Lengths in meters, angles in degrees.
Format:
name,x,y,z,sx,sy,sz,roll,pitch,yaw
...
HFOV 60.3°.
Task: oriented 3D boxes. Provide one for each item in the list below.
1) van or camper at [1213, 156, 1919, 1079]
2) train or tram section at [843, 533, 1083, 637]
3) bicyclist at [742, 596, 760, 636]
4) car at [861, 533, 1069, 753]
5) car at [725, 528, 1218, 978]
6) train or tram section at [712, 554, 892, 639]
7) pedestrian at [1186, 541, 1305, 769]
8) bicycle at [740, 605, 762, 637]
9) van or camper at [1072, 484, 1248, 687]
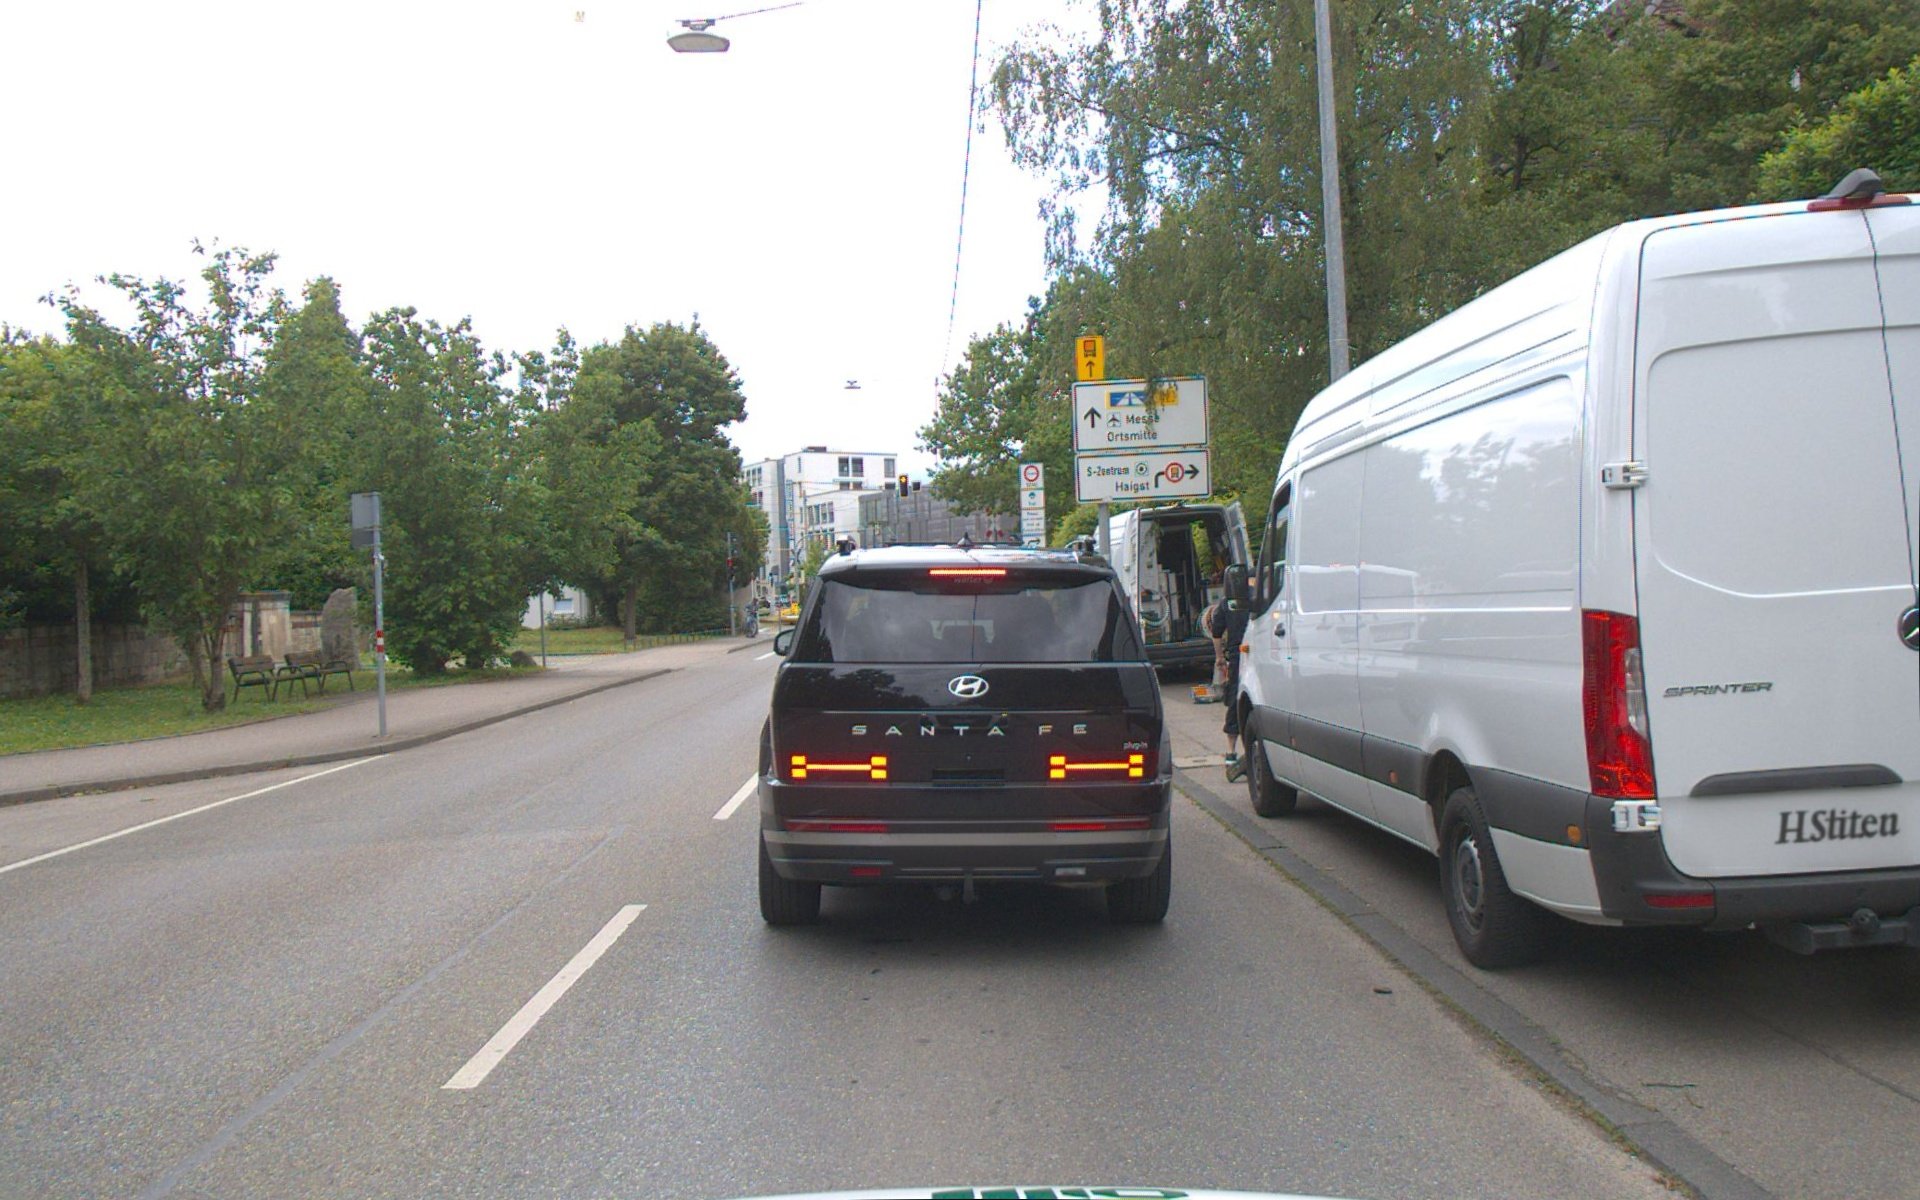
name,x,y,z,sx,sy,sz,roll,pitch,yaw
van or camper,2.858,0.001,8.104,1.924,2.673,6.356,-4,0,-2
train or tram section,-0.348,-0.514,85.106,3.162,4.602,18.480,0,-2,-31
bicyclist,-8.823,0.677,69.830,0.663,1.688,0.855,0,-2,-13
car,-0.005,0.393,17.485,1.924,2.036,3.999,-1,0,-2
car,-0.005,0.594,8.522,1.924,1.741,3.999,-1,0,-2
train or tram section,-10.028,0.015,100.884,3.162,4.602,18.480,0,-2,-31
pedestrian,2.328,0.439,13.512,0.609,1.773,0.601,-5,0,-21
bicycle,-8.816,0.894,69.795,0.663,1.302,2.492,0,-2,-13
van or camper,3.124,-0.222,26.937,1.924,2.845,5.285,-4,0,-2
